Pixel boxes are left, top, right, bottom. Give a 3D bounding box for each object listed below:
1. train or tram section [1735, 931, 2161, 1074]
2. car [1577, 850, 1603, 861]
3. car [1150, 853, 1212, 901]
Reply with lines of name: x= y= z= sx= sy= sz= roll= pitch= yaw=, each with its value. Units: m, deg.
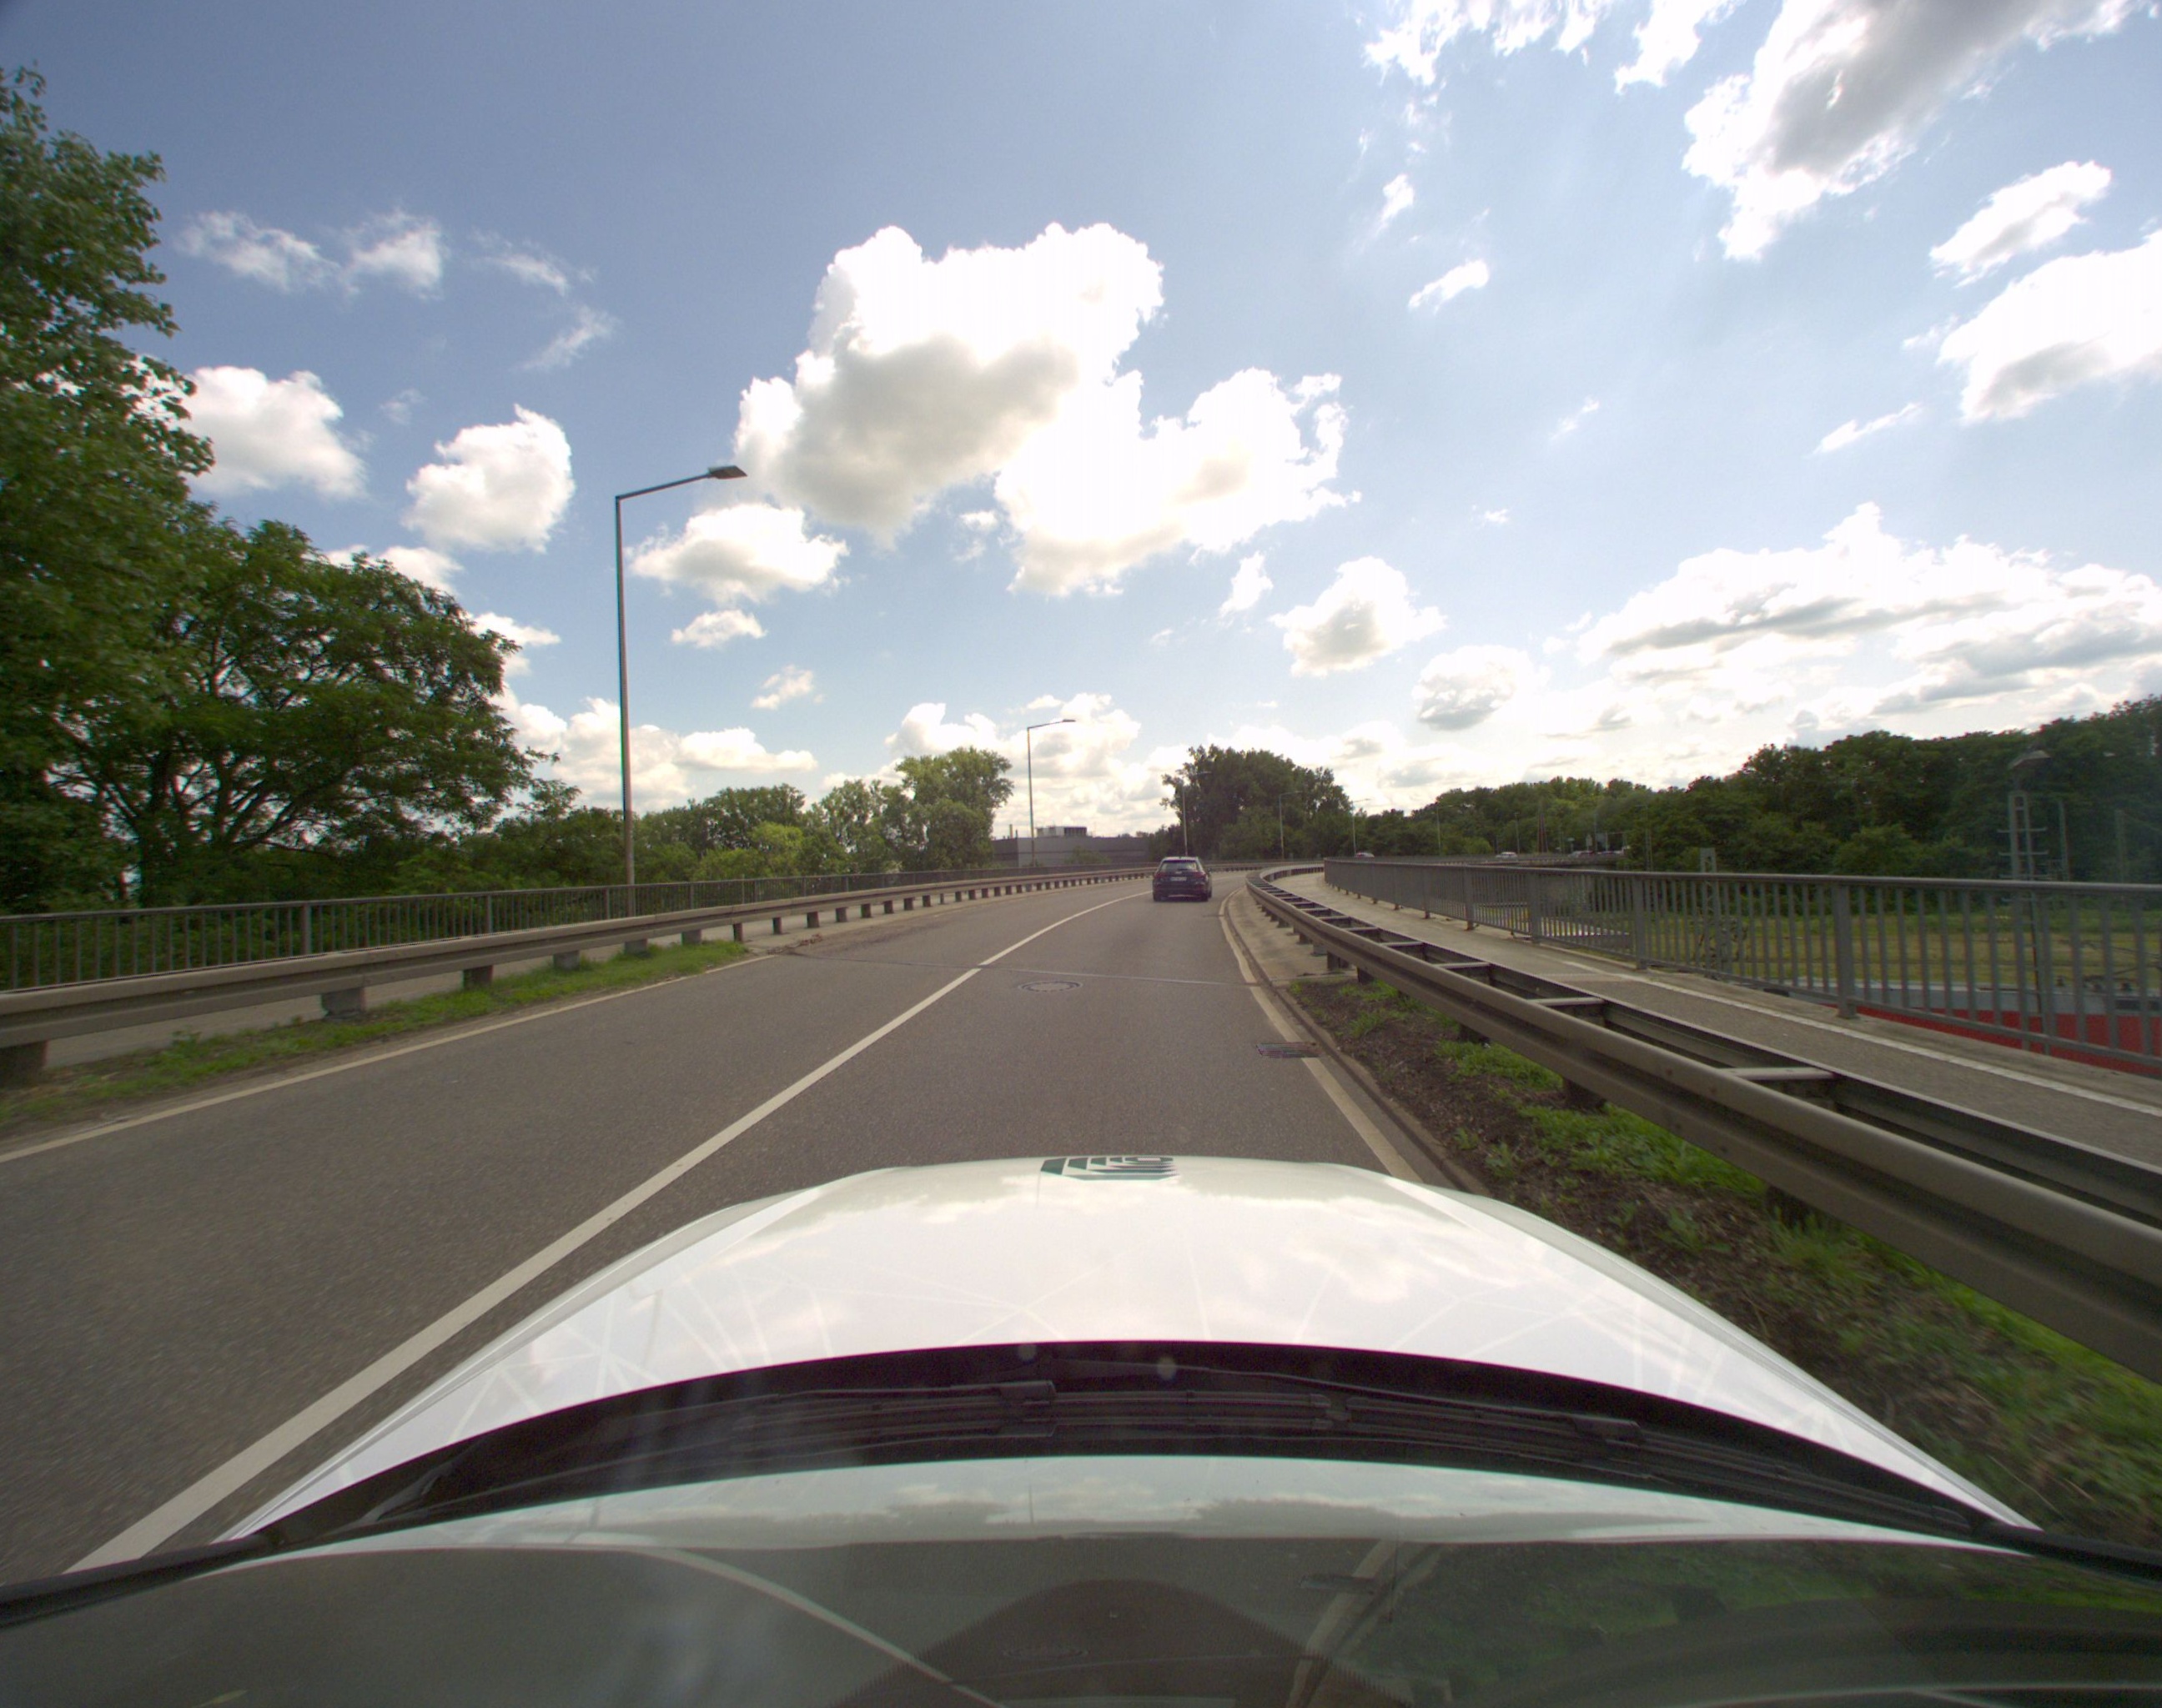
train or tram section: x=31.969 y=4.817 z=27.612 sx=14.844 sy=4.154 sz=3.148 roll=-3 pitch=-4 yaw=32
car: x=80.091 y=0.224 z=128.230 sx=3.863 sy=1.651 sz=1.724 roll=0 pitch=0 yaw=-26
car: x=3.443 y=0.721 z=27.417 sx=1.817 sy=1.492 sz=4.218 roll=-1 pitch=0 yaw=10
